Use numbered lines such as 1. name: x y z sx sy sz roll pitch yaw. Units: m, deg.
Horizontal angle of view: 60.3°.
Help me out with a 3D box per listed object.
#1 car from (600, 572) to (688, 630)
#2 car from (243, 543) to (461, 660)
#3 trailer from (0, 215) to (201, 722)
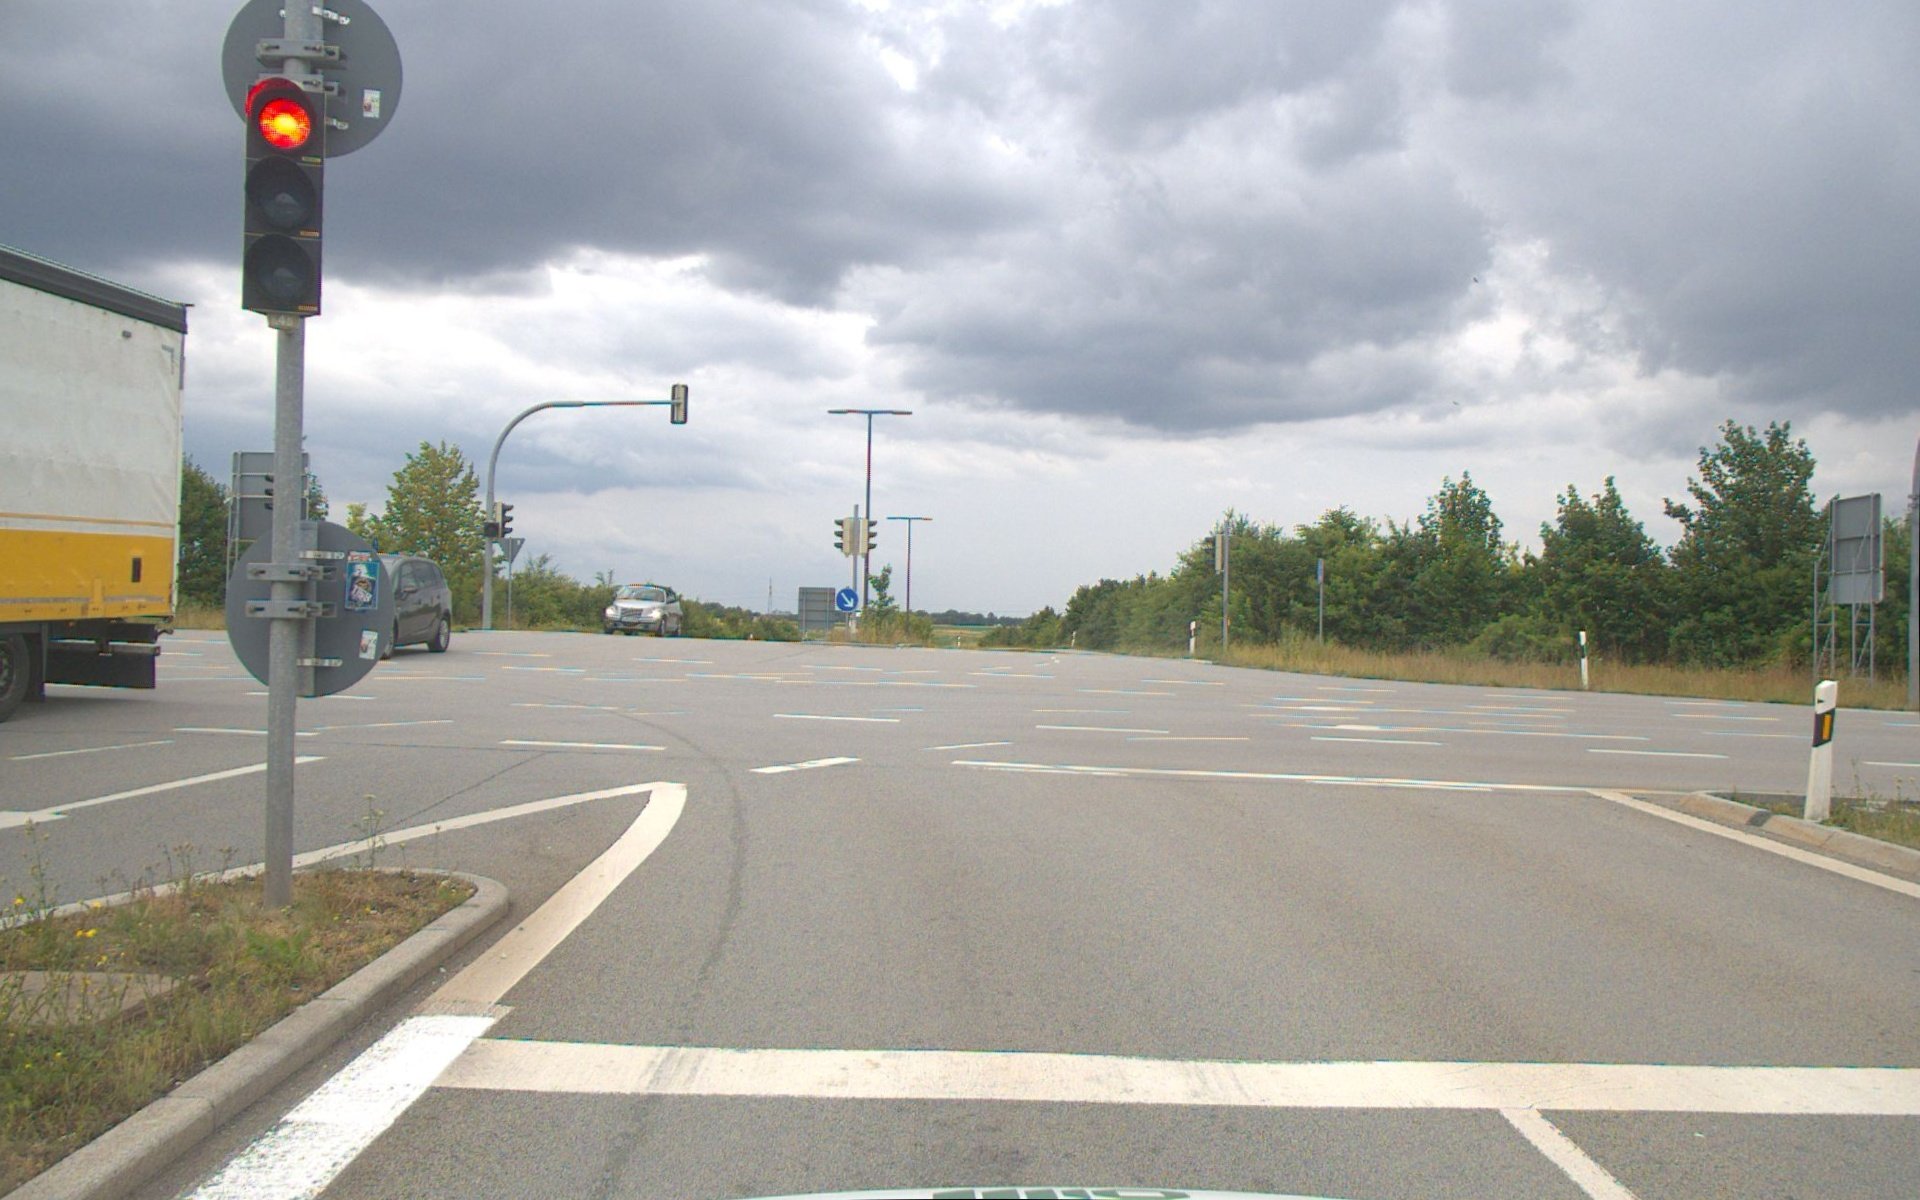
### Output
1. car: -9.211 -0.009 48.489 1.773 1.546 4.242 2 1 -1
2. car: -9.810 0.027 27.086 1.953 1.723 4.454 1 0 -1
3. trailer: -9.490 -1.145 10.657 2.636 4.284 13.841 1 0 1
